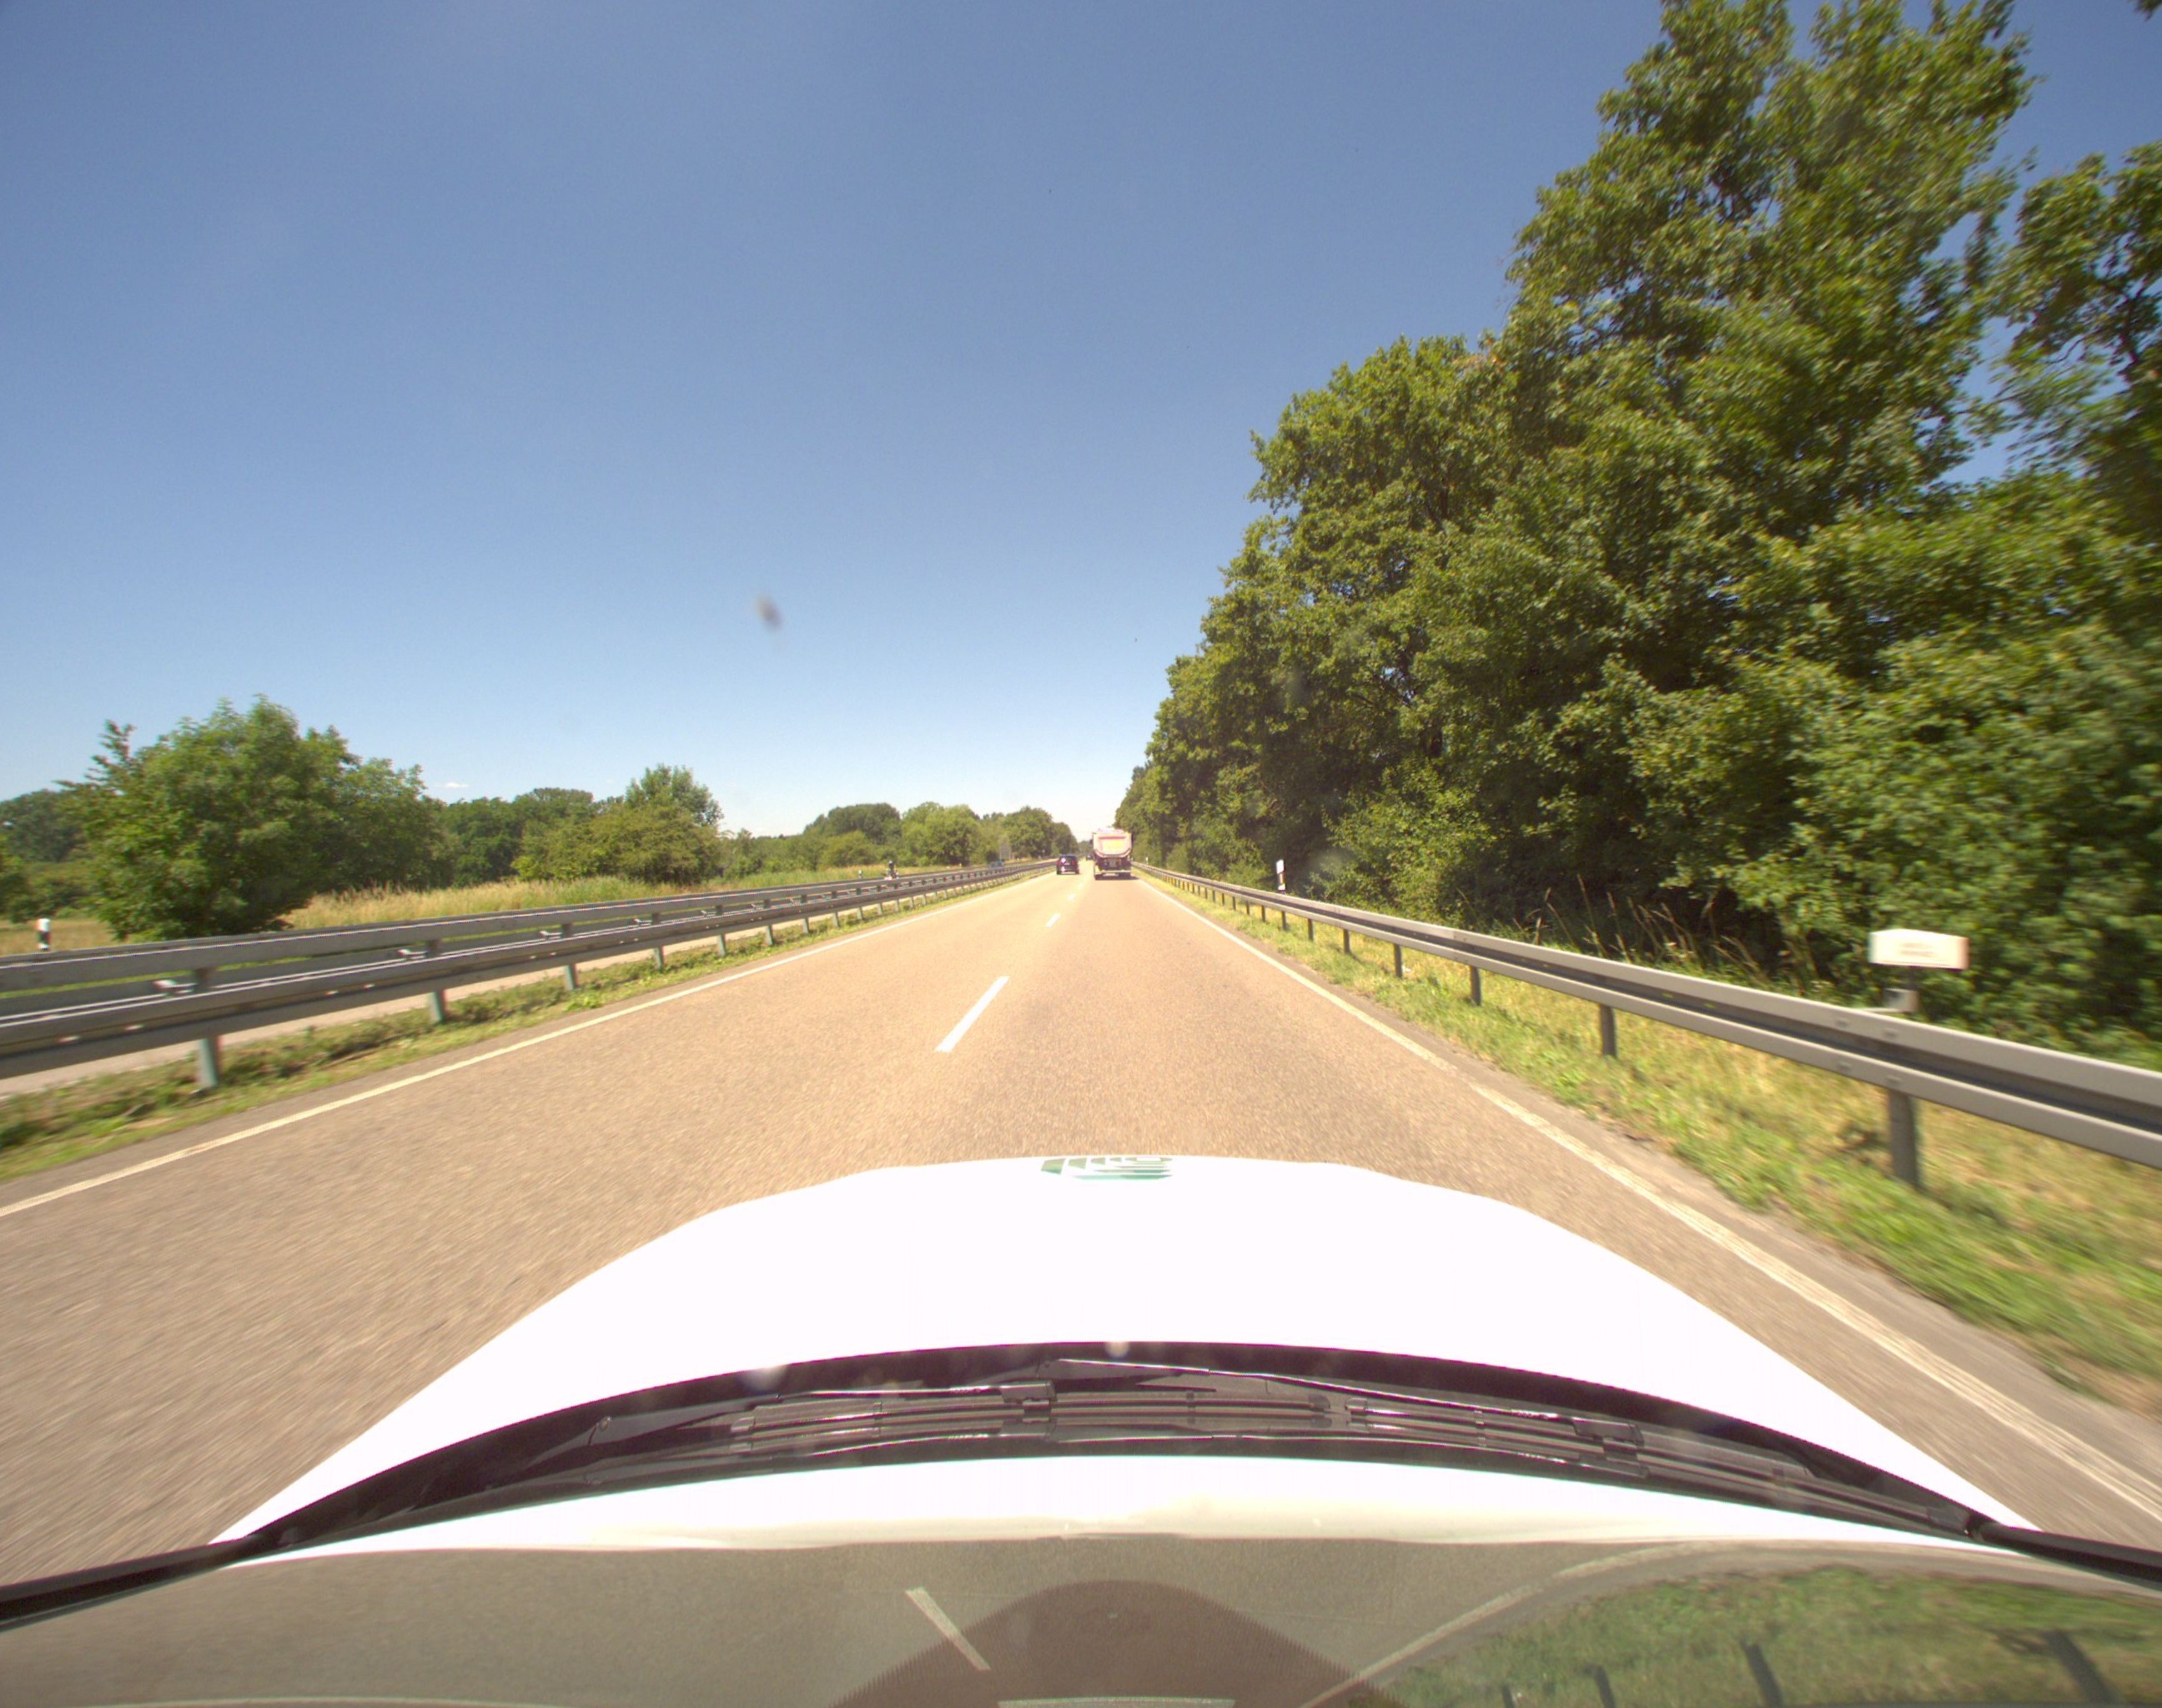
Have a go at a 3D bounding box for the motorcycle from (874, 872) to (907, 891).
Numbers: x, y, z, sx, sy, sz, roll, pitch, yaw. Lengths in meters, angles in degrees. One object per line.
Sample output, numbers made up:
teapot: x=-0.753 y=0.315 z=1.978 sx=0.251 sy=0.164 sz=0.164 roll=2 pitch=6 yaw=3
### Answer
motorcycle: x=-12.176 y=1.764 z=52.254 sx=1.059 sy=1.064 sz=3.819 roll=-3 pitch=0 yaw=2

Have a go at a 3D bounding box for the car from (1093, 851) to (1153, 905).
car: x=1.362 y=0.806 z=27.946 sx=1.851 sy=1.671 sz=4.000 roll=-1 pitch=-1 yaw=1

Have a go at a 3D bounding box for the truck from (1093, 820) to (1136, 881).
truck: x=2.289 y=-0.287 z=59.684 sx=2.711 sy=3.930 sz=12.371 roll=-1 pitch=0 yaw=1

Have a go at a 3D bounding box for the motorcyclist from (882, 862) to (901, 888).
motorcyclist: x=-12.150 y=1.351 z=52.172 sx=0.942 sy=1.617 sz=0.809 roll=-3 pitch=0 yaw=0

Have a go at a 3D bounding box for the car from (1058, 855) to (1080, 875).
car: x=-1.077 y=1.024 z=73.052 sx=1.851 sy=1.671 sz=4.000 roll=-1 pitch=-1 yaw=1

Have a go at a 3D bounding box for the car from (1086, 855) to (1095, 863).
car: x=2.205 y=1.105 z=186.492 sx=1.851 sy=1.718 sz=4.000 roll=-1 pitch=-1 yaw=1
